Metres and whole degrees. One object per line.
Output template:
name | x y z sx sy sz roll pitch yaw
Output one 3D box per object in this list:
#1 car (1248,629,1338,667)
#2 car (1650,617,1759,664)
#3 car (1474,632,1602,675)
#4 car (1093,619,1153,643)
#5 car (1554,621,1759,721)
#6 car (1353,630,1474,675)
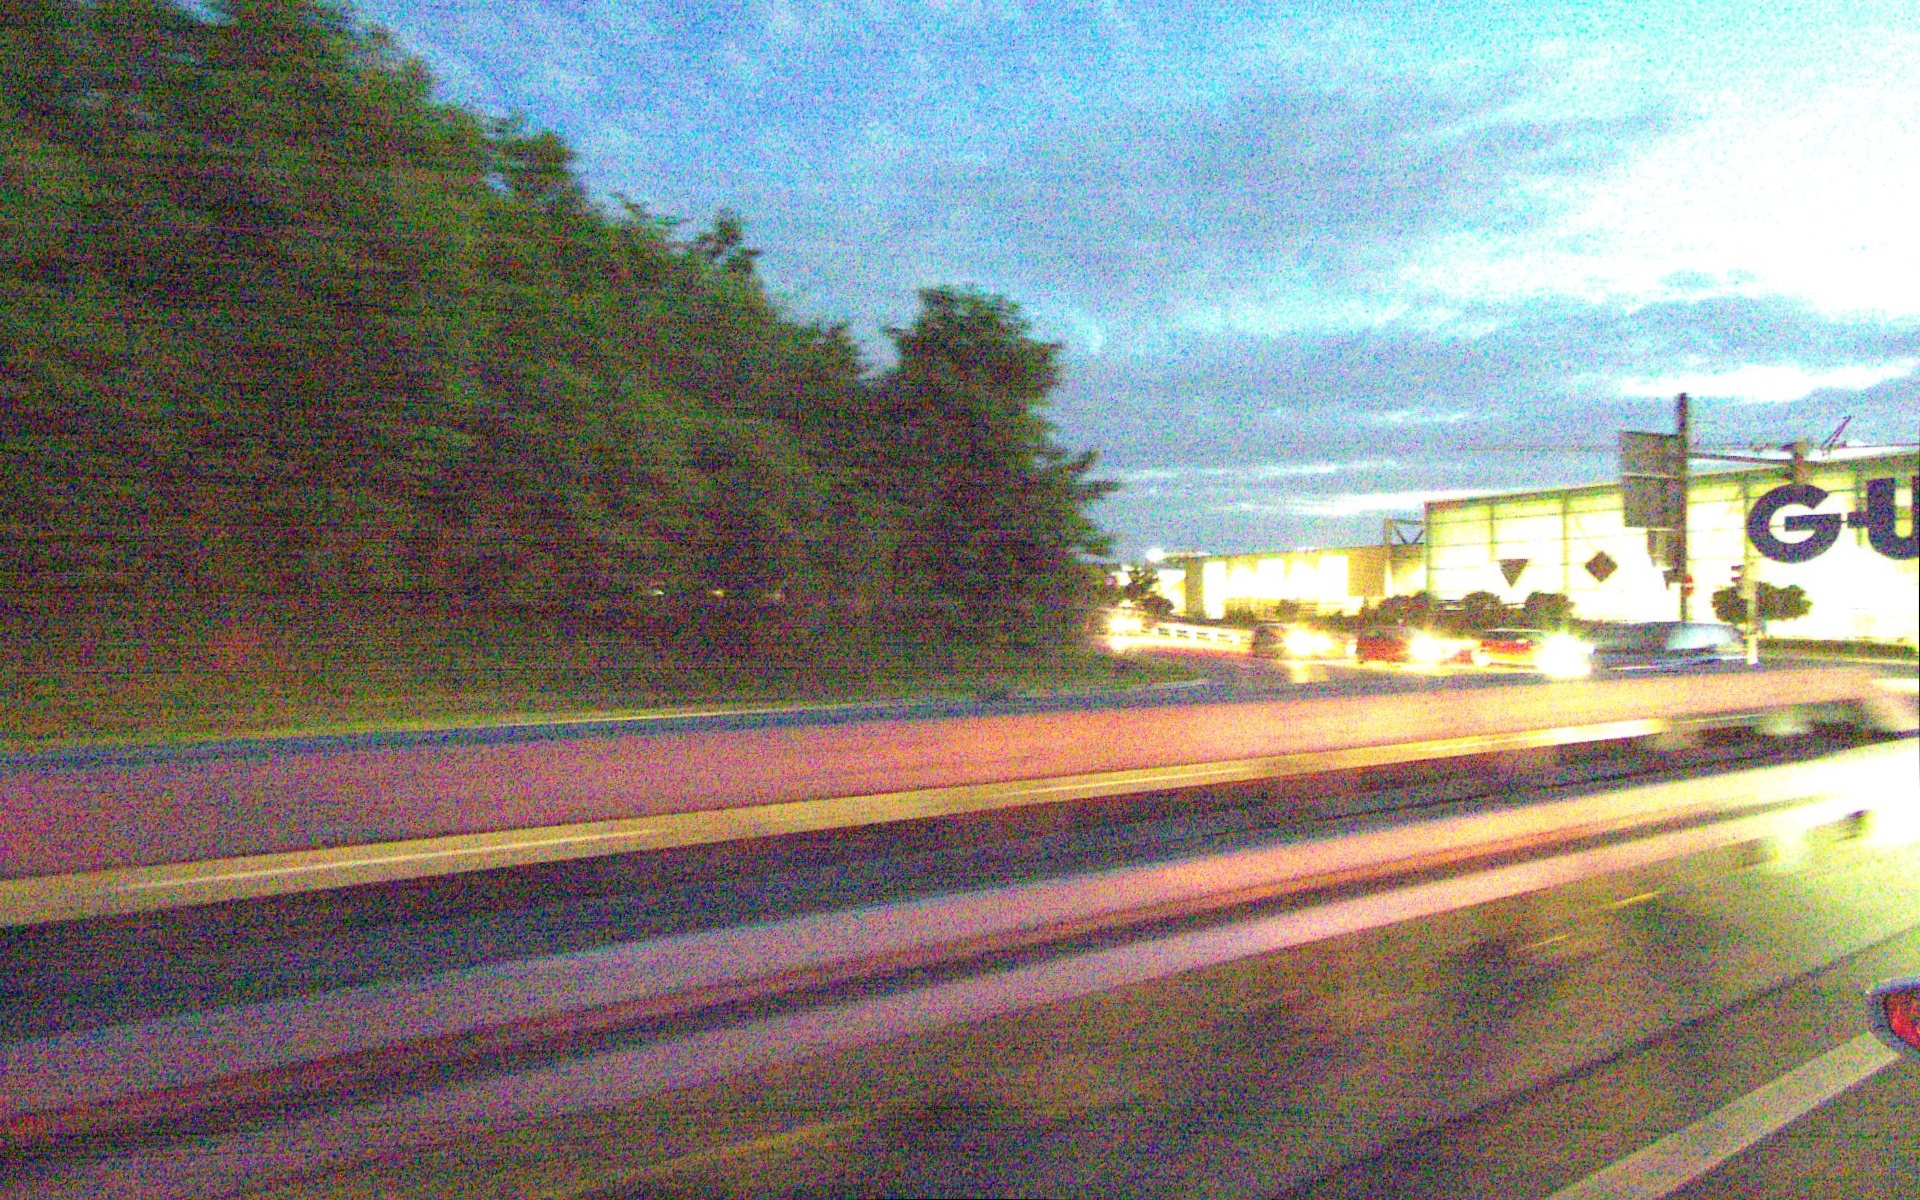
car | 14.374 2.042 43.598 1.664 1.479 3.793 0 0 -22
car | 35.300 1.882 47.768 3.929 2.040 1.996 2 0 31
car | 21.087 1.948 36.829 1.681 1.494 3.848 2 -3 -24
car | 10.360 1.962 64.042 1.971 1.416 3.979 1 -1 -22
car | 11.868 1.156 17.094 3.475 1.539 1.538 1 -3 -31
car | 16.600 1.896 36.990 1.734 1.479 3.979 2 -2 -22
